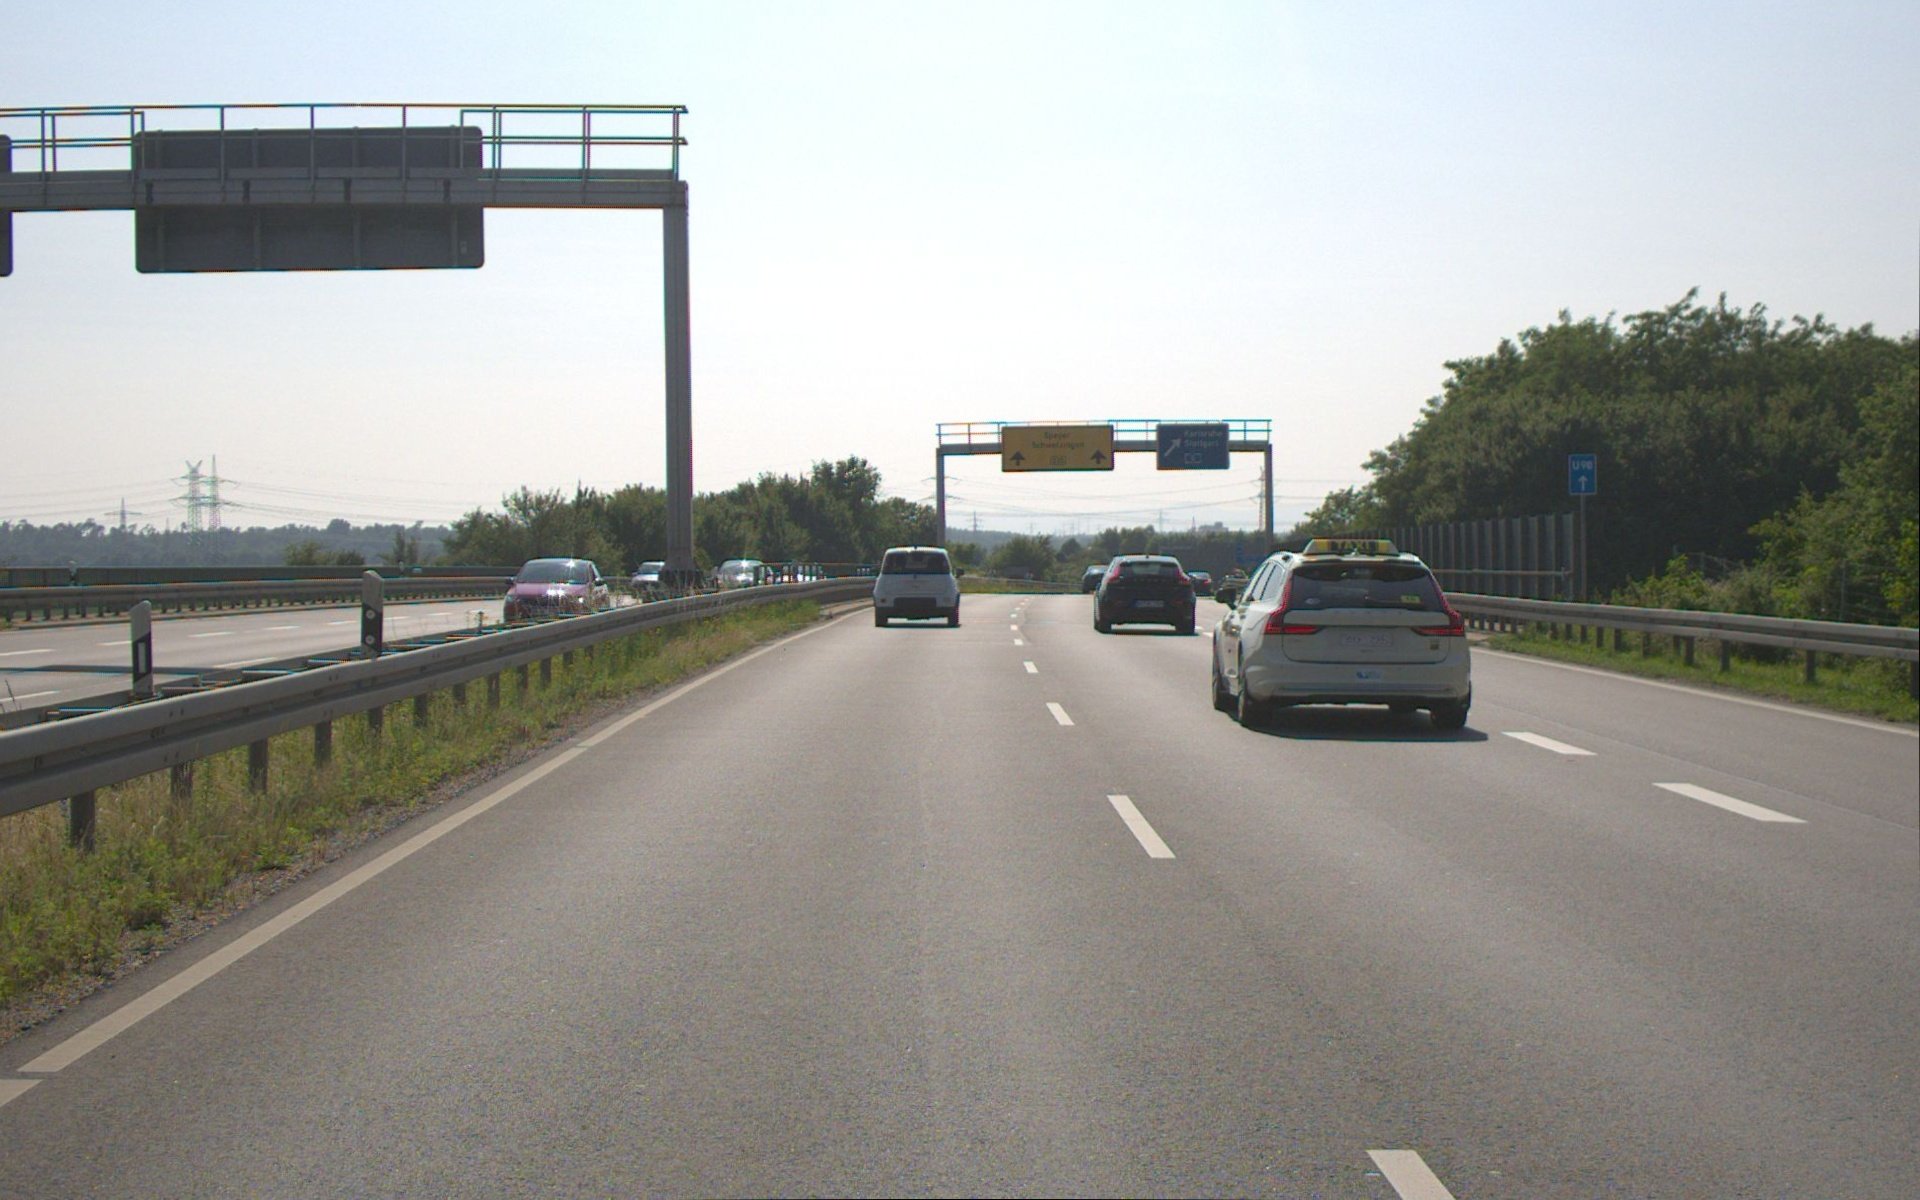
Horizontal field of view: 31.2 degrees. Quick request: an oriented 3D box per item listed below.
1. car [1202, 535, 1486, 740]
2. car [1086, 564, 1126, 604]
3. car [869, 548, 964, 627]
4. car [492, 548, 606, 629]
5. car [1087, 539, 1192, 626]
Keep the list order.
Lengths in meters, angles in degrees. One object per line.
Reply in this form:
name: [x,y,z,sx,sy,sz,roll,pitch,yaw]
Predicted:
car: [3.204,0.268,29.462,1.958,1.596,4.107,1,1,0]
car: [7.586,-0.840,178.781,1.993,2.007,4.000,1,1,2]
car: [-0.834,-0.245,67.628,1.793,1.498,4.043,0,0,0]
car: [-7.906,-0.243,66.455,1.710,1.481,4.266,1,1,-1]
car: [3.292,-0.317,63.614,1.793,1.538,3.671,1,0,1]
